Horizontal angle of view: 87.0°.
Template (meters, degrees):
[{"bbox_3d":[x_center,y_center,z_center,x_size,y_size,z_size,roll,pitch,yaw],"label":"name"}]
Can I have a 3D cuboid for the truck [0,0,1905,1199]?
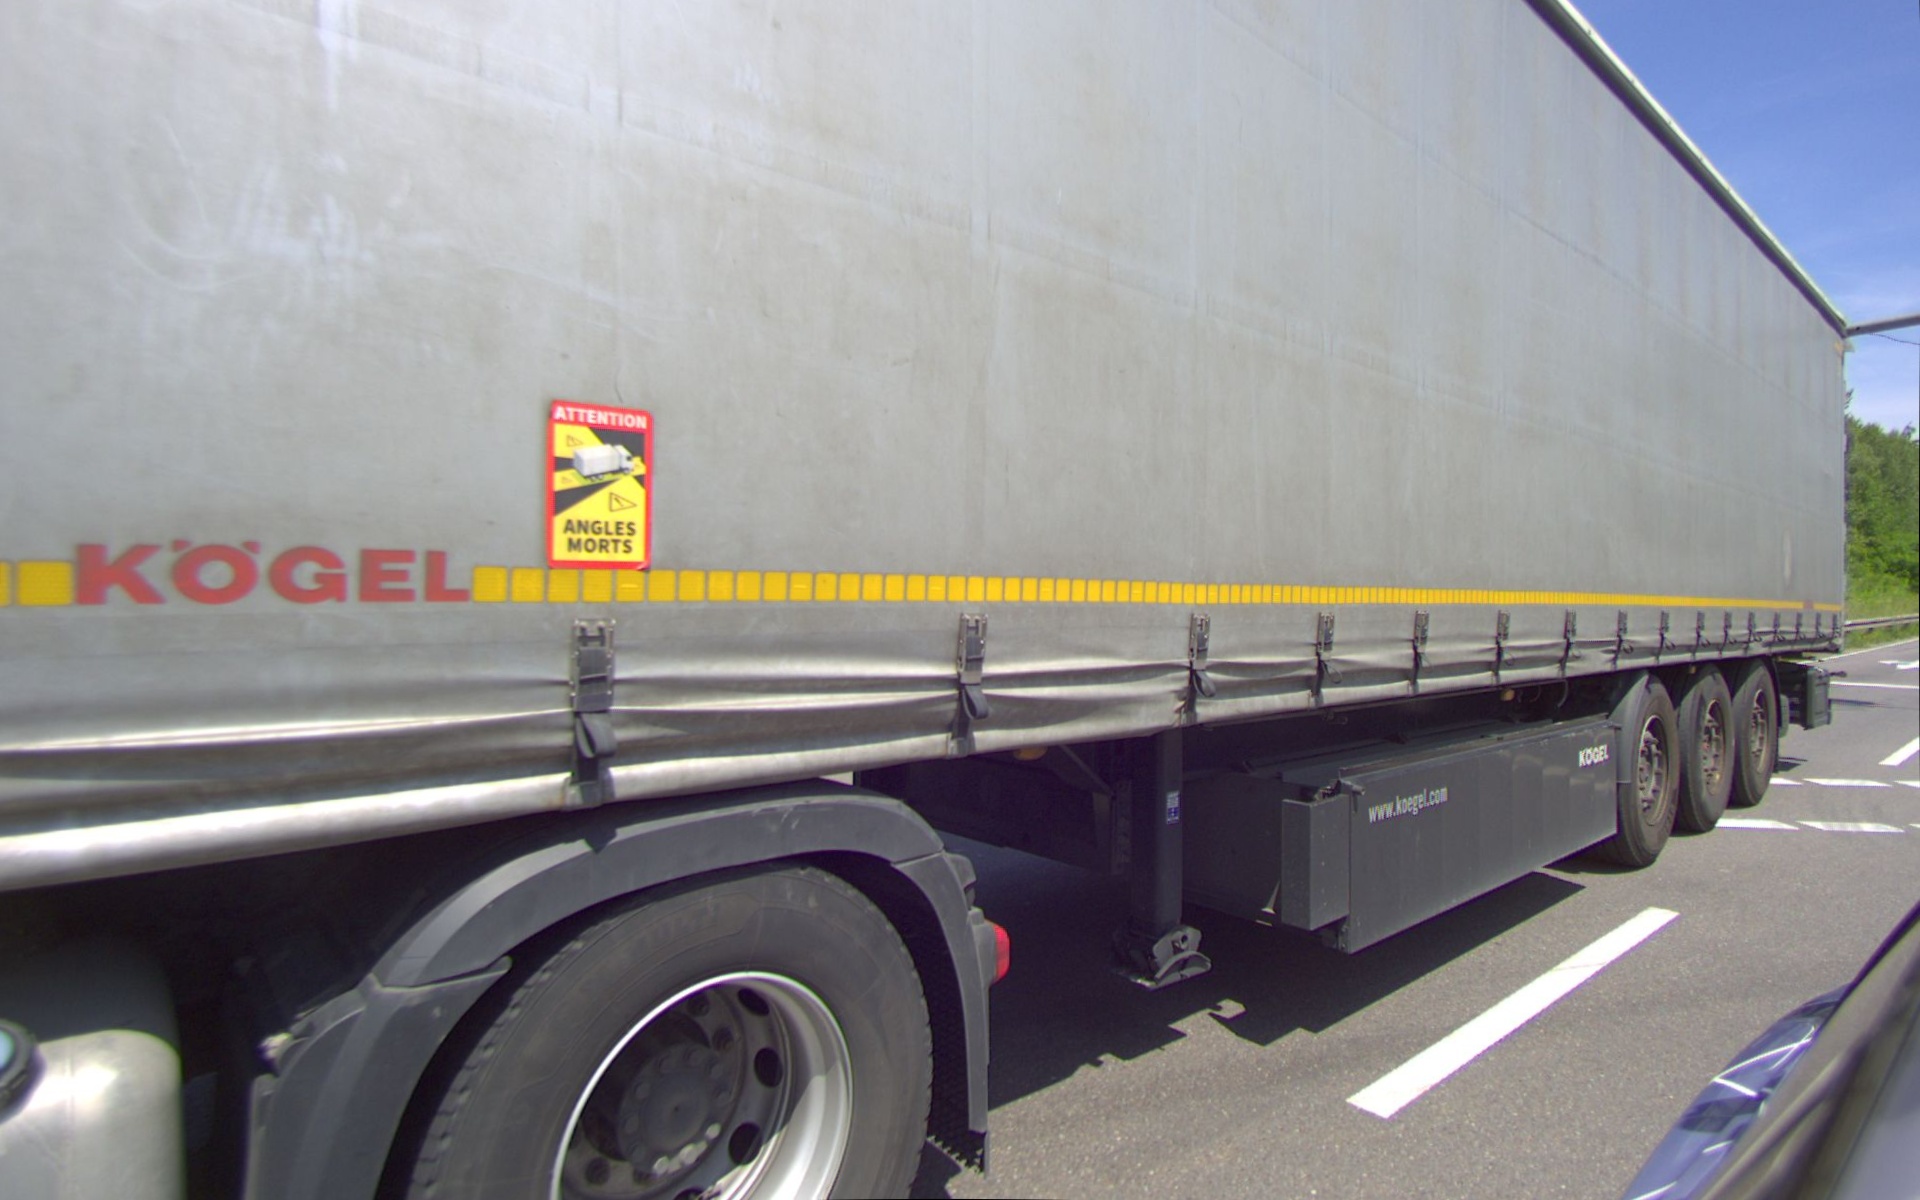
[{"bbox_3d":[2.042,-0.634,5.565,13.876,4.058,2.980,0,4,-41],"label":"truck"}]

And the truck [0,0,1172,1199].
[{"bbox_3d":[-2.886,-0.565,1.258,6.216,4.058,2.980,0,4,-41],"label":"truck"}]
